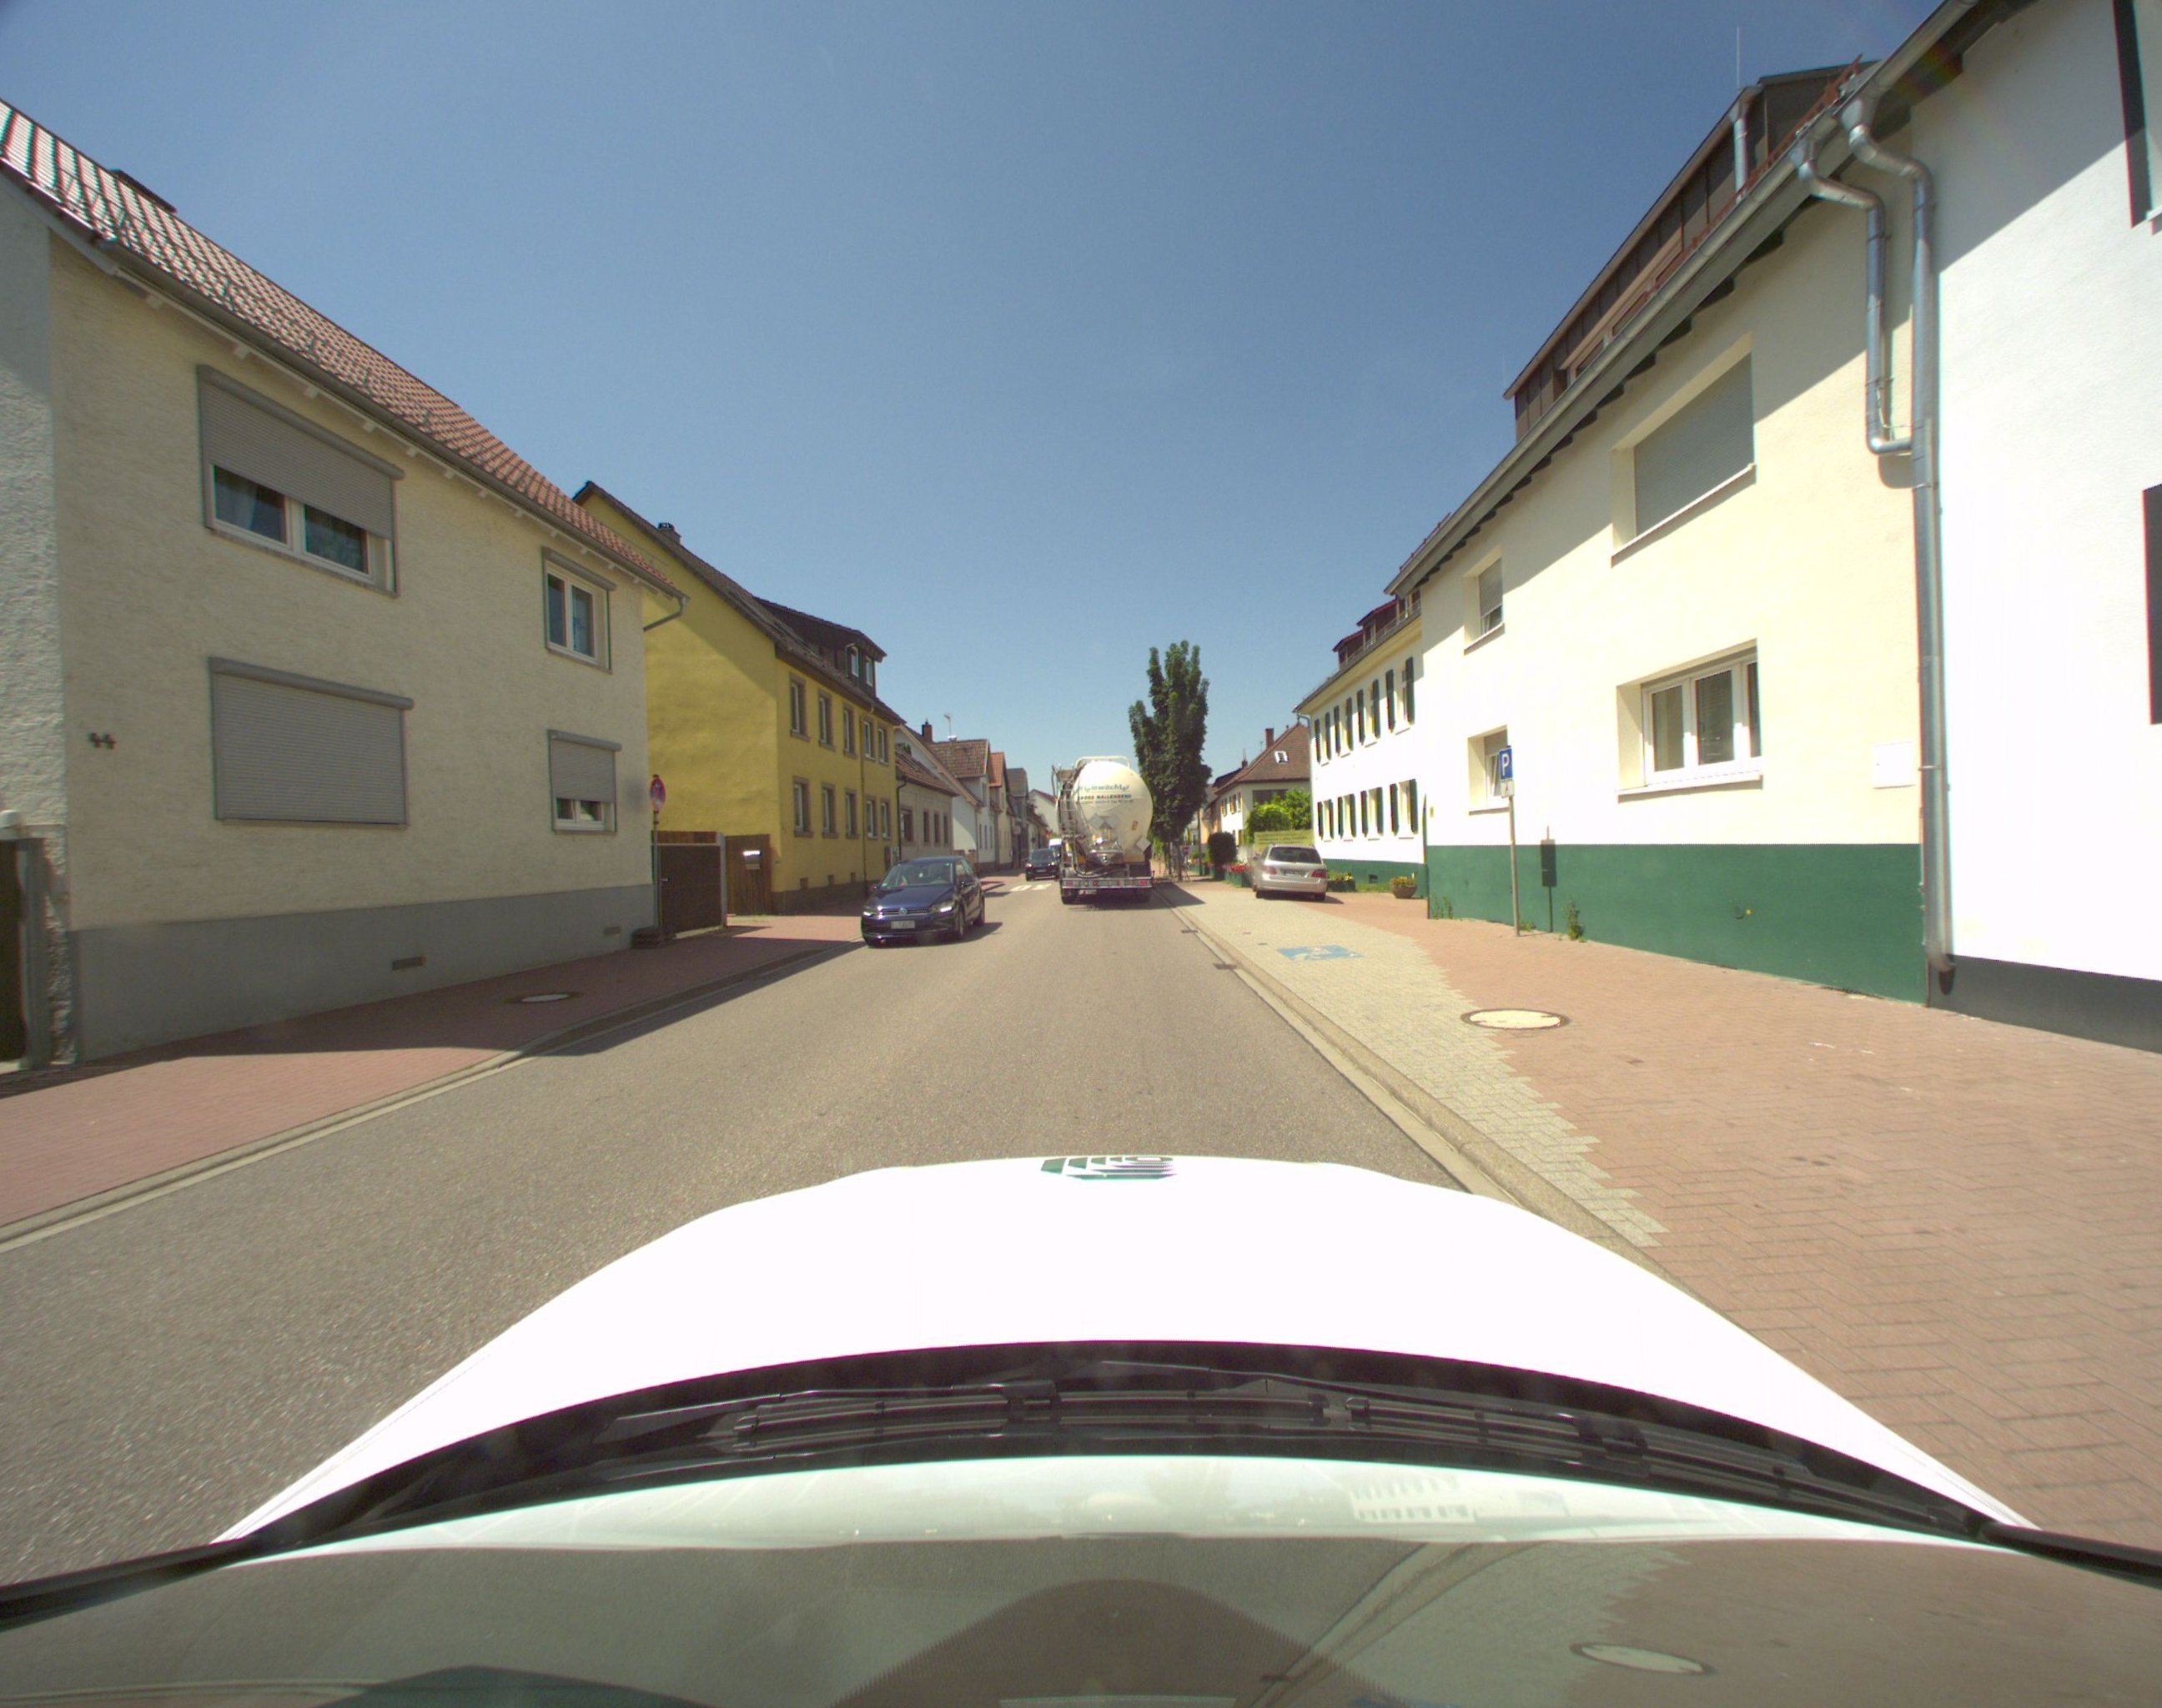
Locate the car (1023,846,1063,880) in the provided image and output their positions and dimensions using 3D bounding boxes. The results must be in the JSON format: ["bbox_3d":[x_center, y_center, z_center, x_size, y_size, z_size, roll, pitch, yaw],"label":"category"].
[{"bbox_3d":[-2.031,0.456,44.869,1.833,1.669,4.325,-3,0,1],"label":"car"}]

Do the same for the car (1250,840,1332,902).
[{"bbox_3d":[5.739,0.371,22.732,1.804,1.462,4.899,3,1,10],"label":"car"}]

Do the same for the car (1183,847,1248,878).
[{"bbox_3d":[9.449,0.615,57.382,4.154,1.587,1.908,8,0,2],"label":"car"}]

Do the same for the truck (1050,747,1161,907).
[{"bbox_3d":[0.668,-0.648,24.355,2.723,3.960,8.142,-1,0,1],"label":"truck"}]

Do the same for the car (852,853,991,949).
[{"bbox_3d":[-2.976,0.806,16.063,1.758,1.536,4.079,-3,0,1],"label":"car"}]

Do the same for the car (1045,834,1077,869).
[{"bbox_3d":[-1.508,-0.221,62.880,2.062,2.455,6.009,-3,0,1],"label":"car"}]
